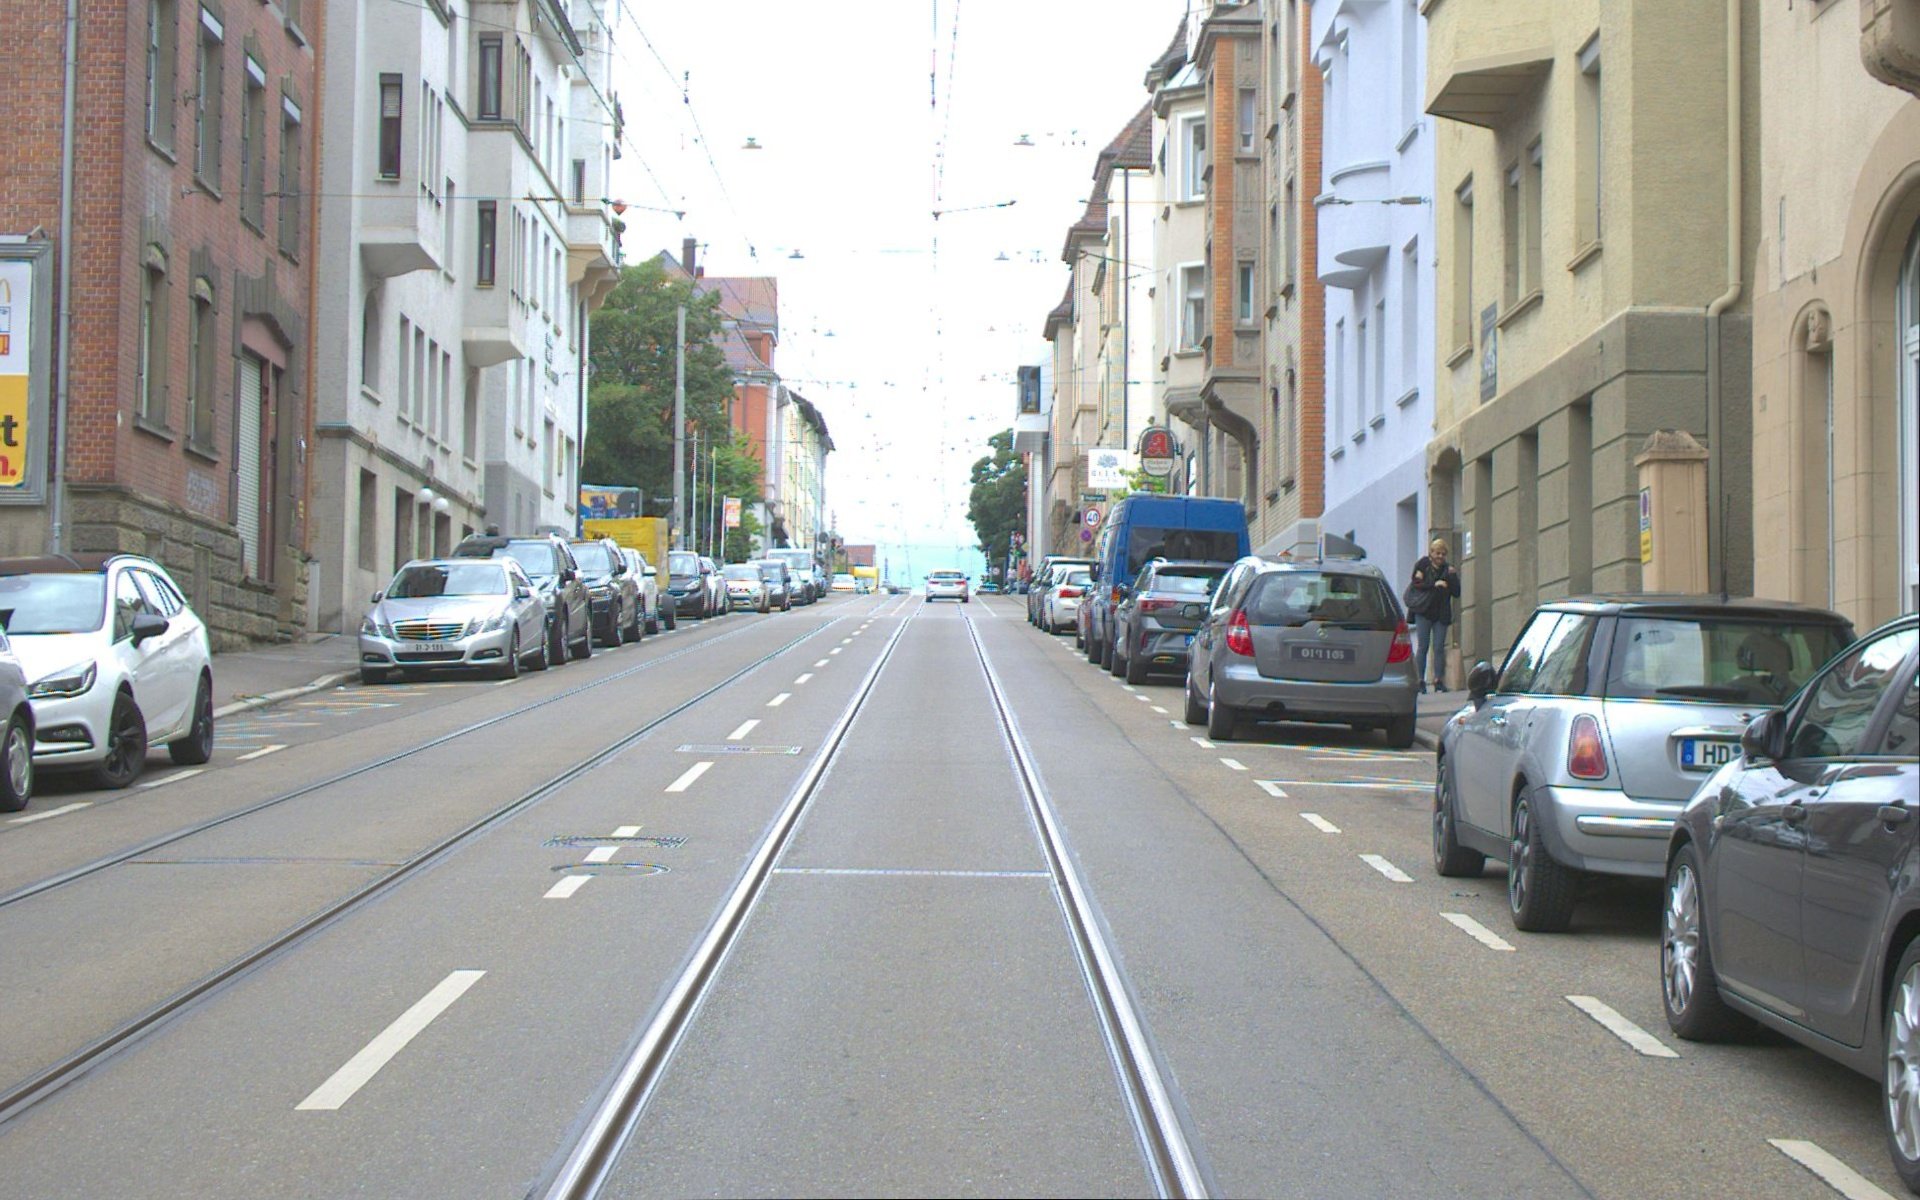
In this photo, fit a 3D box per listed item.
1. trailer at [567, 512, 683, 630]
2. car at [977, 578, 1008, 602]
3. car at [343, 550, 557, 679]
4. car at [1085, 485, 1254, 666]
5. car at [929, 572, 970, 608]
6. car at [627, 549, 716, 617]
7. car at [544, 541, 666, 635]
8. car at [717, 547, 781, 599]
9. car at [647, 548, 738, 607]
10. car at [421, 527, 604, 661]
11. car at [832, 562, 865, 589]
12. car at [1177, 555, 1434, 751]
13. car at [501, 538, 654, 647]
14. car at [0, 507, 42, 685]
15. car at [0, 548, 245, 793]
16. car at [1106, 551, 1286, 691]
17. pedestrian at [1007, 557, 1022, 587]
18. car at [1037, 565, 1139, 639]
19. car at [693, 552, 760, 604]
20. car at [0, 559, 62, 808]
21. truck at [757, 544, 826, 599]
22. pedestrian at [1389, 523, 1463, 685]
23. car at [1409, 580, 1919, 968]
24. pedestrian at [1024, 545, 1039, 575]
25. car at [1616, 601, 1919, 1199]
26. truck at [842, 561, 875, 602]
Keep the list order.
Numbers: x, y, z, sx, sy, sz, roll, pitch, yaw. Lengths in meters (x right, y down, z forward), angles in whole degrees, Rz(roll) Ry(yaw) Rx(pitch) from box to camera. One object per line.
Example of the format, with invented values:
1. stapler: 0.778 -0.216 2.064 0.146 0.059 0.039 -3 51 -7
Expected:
1. trailer: -6.409 -0.579 66.133 1.748 2.148 4.071 -1 1 0
2. car: 2.169 -0.676 228.072 1.993 1.558 4.290 1 1 0
3. car: -6.152 0.128 41.986 1.827 1.424 4.839 -1 1 0
4. car: 2.873 -0.336 48.198 1.993 2.368 5.056 1 0 0
5. car: -0.472 -0.457 148.968 1.672 1.508 3.798 1 1 -1
6. car: -6.496 -0.399 77.695 1.697 1.463 3.023 -1 0 0
7. car: -6.360 -0.246 61.950 1.697 1.588 4.268 -1 1 0
8. car: -7.173 -0.926 117.185 1.744 1.730 4.519 -1 1 1
9. car: -6.430 -0.552 83.018 1.780 1.353 4.291 1 1 1
10. car: -6.126 -0.121 47.591 1.827 1.712 4.913 -1 1 0
11. car: -6.779 -1.521 209.880 1.855 1.601 4.297 1 1 0
12. car: 2.989 0.412 30.525 1.827 1.514 4.028 3 1 0
13. car: -6.174 -0.160 56.000 1.873 1.658 4.892 -1 1 0
14. car: -12.397 0.005 35.770 5.173 1.812 1.941 -1 1 -4
15. car: -6.103 0.416 22.886 1.827 1.424 4.628 -3 1 -2
16. car: 2.881 0.227 42.764 1.779 1.525 4.192 4 0 -1
17. pedestrian: 3.054 -1.573 192.817 0.791 1.661 0.798 1 0 2
18. car: 2.585 0.021 70.133 1.750 1.386 4.308 3 1 -1
19. car: -7.159 -0.677 105.612 1.697 1.551 3.850 1 1 1
20. car: -6.126 0.518 18.275 1.600 1.363 3.807 -3 1 1
21. truck: -6.925 -1.175 142.101 2.280 2.180 8.025 1 1 1
22. pedestrian: 4.960 0.048 36.597 0.540 1.676 0.516 -4 -2 -8
23. car: 3.118 0.679 15.378 1.695 1.399 3.667 3 1 0
24. pedestrian: 4.031 -2.264 192.830 0.791 1.661 0.798 1 0 2
25. car: 3.143 0.750 9.356 1.839 1.398 4.167 3 0 0
26. truck: -7.761 -1.398 264.239 2.302 3.026 9.034 1 0 0
